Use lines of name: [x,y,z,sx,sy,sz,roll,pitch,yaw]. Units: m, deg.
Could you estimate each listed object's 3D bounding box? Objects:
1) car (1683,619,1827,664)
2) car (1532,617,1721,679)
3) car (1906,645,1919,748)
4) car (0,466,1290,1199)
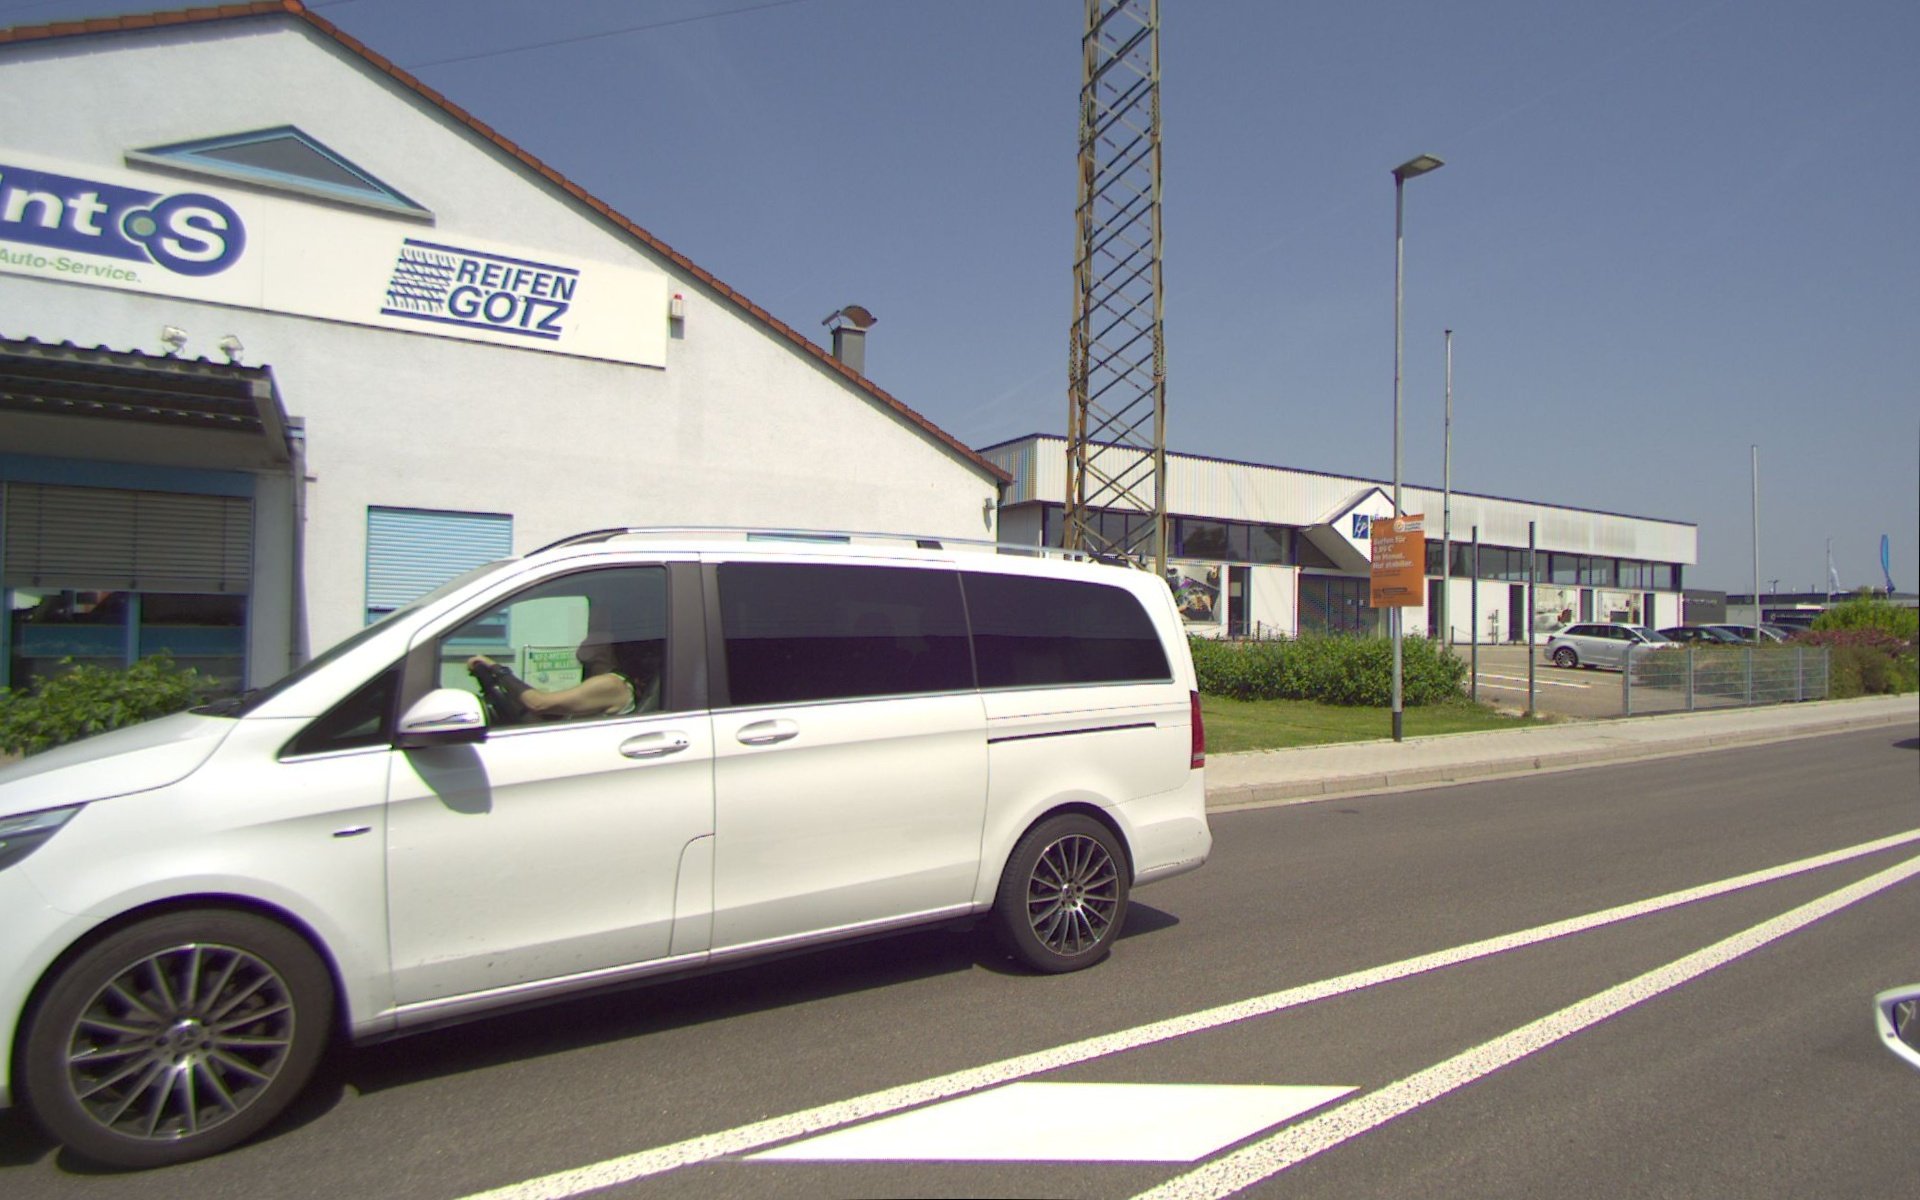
car: [26.697,1.353,33.821,1.487,1.271,3.491,1,1,-31]
car: [19.180,1.321,29.093,1.744,1.475,4.202,1,1,-31]
car: [15.475,1.352,14.447,3.953,1.441,1.663,1,-3,-31]
car: [-0.998,0.712,4.685,5.111,1.898,1.984,2,-4,-32]
